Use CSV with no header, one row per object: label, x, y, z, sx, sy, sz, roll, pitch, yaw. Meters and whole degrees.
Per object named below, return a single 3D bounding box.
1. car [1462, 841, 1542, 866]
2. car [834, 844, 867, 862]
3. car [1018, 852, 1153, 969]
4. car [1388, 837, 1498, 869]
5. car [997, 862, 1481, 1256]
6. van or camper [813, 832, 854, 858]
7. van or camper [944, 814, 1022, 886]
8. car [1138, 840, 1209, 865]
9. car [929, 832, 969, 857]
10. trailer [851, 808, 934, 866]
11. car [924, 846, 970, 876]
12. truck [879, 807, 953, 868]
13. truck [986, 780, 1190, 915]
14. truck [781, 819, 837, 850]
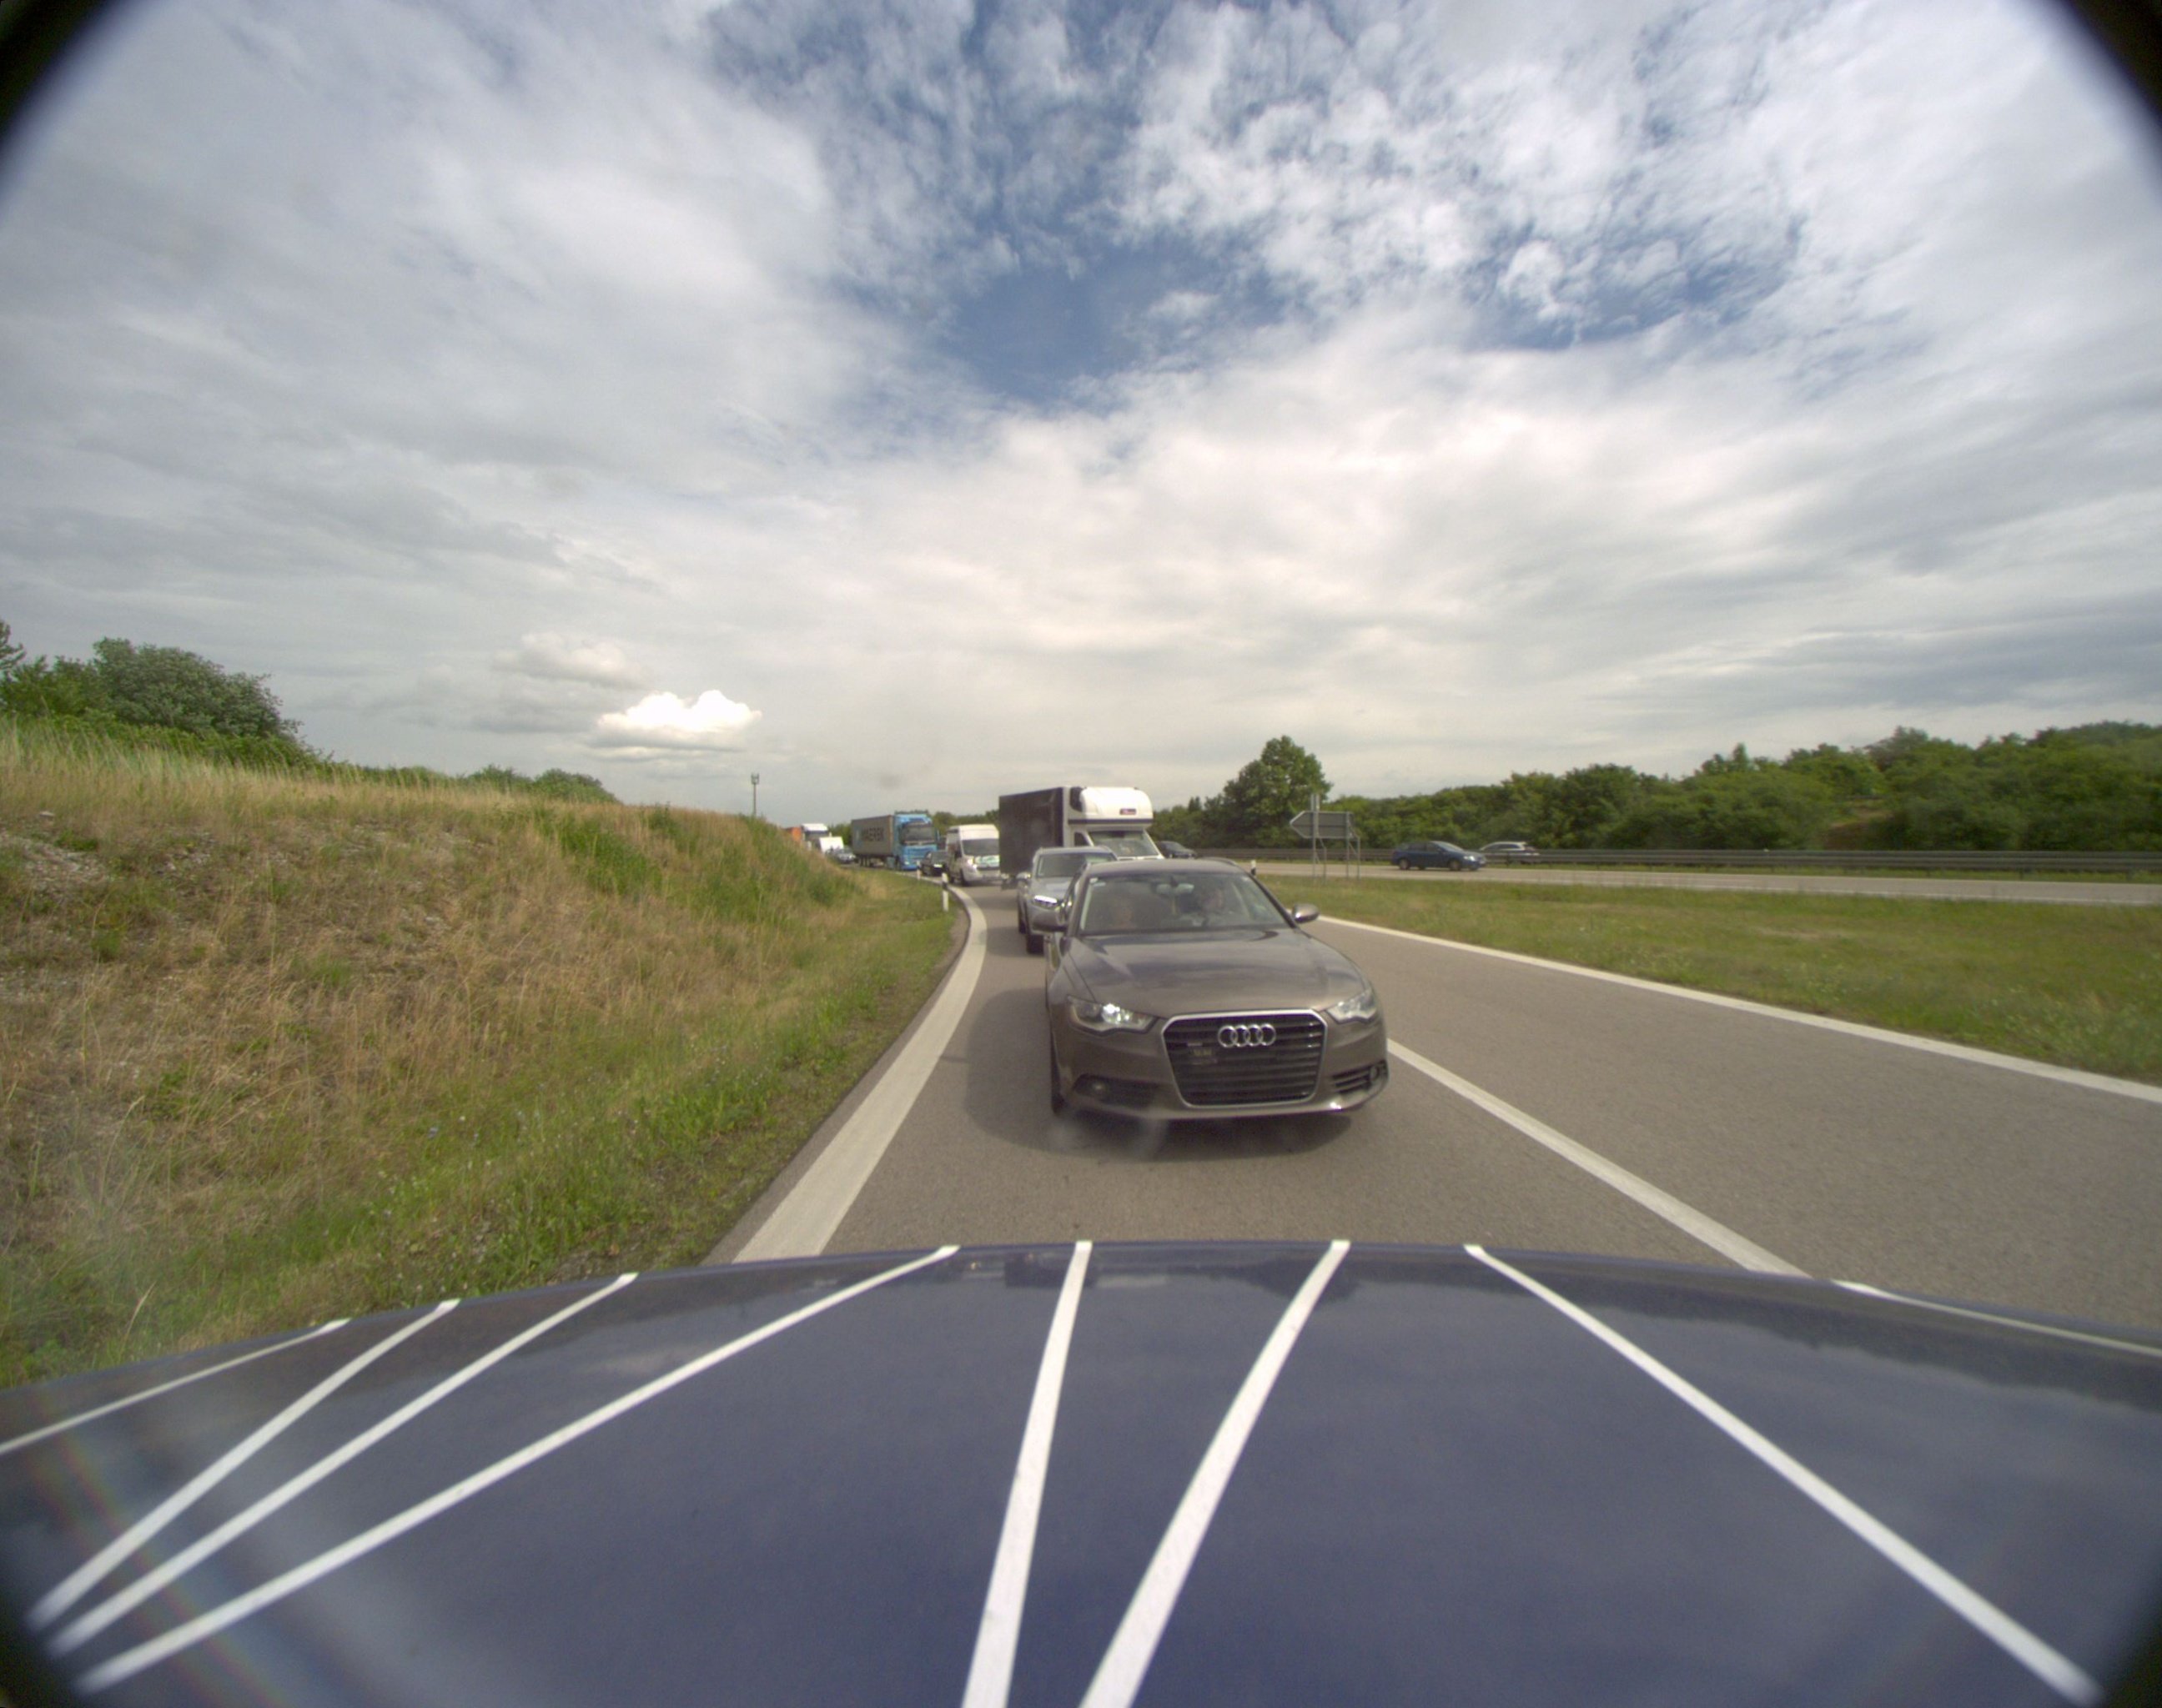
car,26.241,-0.054,47.441,1.816,1.478,3.989,-2,2,-35
car,-21.268,-0.139,69.973,2.003,1.521,3.990,-2,2,-29
car,-0.098,0.786,12.865,1.843,1.587,4.171,-1,1,-6
car,17.497,-0.099,36.948,2.003,1.415,4.446,-2,2,-33
car,0.650,0.883,5.454,1.999,1.505,4.537,-2,1,-1
van or camper,-24.473,-0.914,75.056,2.557,2.200,5.693,-3,5,-31
van or camper,-4.536,-0.164,34.269,2.401,2.892,5.711,-3,1,-18
car,5.766,-0.138,47.768,2.003,1.415,4.446,-2,2,-33
car,-12.793,-0.933,73.390,2.003,2.246,4.795,-2,2,-34
trailer,-15.306,-1.233,60.723,3.280,4.137,11.989,-3,1,-29
car,-7.876,0.356,44.446,2.002,1.609,3.992,-1,1,-19
truck,-11.944,-1.109,54.477,3.184,4.049,6.631,-3,1,-29
truck,-0.178,-0.163,21.580,2.572,3.149,7.452,-3,1,-27
truck,-30.540,-2.066,84.929,3.131,3.220,11.131,-2,1,-34
